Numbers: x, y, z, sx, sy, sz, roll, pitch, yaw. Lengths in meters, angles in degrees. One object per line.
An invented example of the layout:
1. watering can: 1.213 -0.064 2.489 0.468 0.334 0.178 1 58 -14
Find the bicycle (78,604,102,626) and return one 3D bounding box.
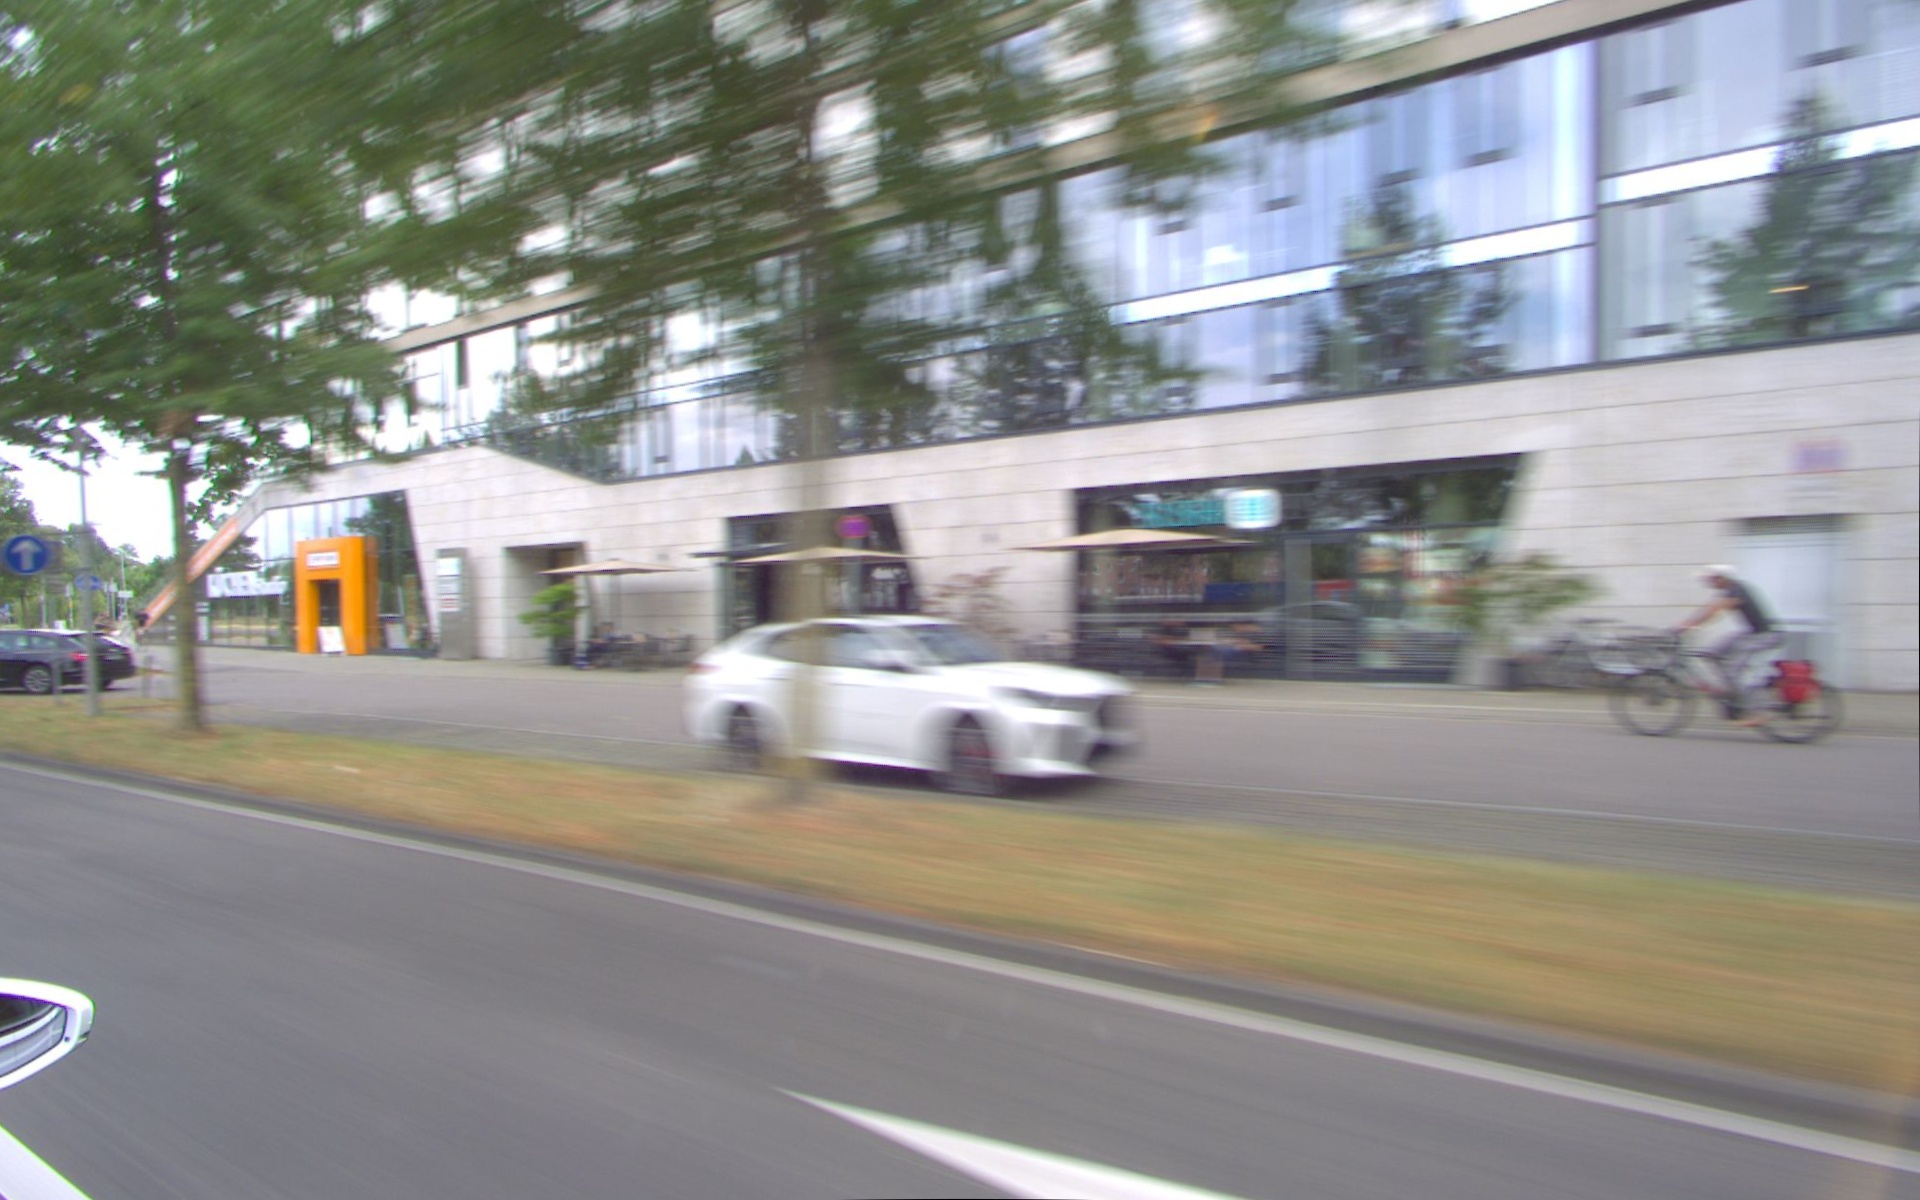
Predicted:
1. bicycle: -62.272 1.052 71.692 1.978 1.524 0.704 -1 -2 31

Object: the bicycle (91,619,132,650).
1. bicycle: -33.044 1.334 38.982 1.978 1.158 0.672 -1 0 33

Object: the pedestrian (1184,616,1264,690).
1. pedestrian: 4.542 0.885 17.239 0.767 1.208 1.095 -1 1 -43

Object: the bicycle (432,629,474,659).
1. bicycle: -16.223 1.397 32.028 1.472 0.922 0.517 -1 0 33

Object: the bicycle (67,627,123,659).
1. bicycle: -27.562 1.359 31.901 2.075 0.968 0.629 -1 0 28

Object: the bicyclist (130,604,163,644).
1. bicyclist: -32.710 0.975 40.266 0.975 1.602 0.723 0 -1 32

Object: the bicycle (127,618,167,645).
1. bicycle: -32.686 1.269 40.253 1.979 1.056 0.672 -1 0 33

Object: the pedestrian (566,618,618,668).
1. pedestrian: -9.493 1.099 25.818 0.938 1.244 0.894 0 1 37

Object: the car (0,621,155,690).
1. car: -22.115 1.281 23.496 4.776 1.495 1.947 -1 0 -3

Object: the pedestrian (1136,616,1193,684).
1. pedestrian: 3.768 0.900 18.456 0.712 1.208 0.753 -1 1 -36

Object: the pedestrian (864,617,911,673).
1. pedestrian: -1.597 0.980 22.079 0.748 1.208 0.717 0 1 31

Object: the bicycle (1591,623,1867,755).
1. bicycle: 8.070 0.887 10.684 2.235 1.252 0.900 -1 1 31

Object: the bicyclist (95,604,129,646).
1. bicyclist: -32.978 0.979 38.941 0.975 1.603 0.723 0 0 32

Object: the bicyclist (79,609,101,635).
1. bicyclist: -62.358 1.554 71.744 1.157 1.813 0.865 0 0 31

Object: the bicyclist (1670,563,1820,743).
1. bicyclist: 8.218 0.516 10.555 1.113 1.761 0.994 0 3 31

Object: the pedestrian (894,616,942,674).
1. pedestrian: -0.896 0.956 21.618 0.748 1.208 0.717 0 1 34

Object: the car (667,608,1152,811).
1. car: -0.594 0.885 9.891 4.528 1.572 1.934 -1 0 33
